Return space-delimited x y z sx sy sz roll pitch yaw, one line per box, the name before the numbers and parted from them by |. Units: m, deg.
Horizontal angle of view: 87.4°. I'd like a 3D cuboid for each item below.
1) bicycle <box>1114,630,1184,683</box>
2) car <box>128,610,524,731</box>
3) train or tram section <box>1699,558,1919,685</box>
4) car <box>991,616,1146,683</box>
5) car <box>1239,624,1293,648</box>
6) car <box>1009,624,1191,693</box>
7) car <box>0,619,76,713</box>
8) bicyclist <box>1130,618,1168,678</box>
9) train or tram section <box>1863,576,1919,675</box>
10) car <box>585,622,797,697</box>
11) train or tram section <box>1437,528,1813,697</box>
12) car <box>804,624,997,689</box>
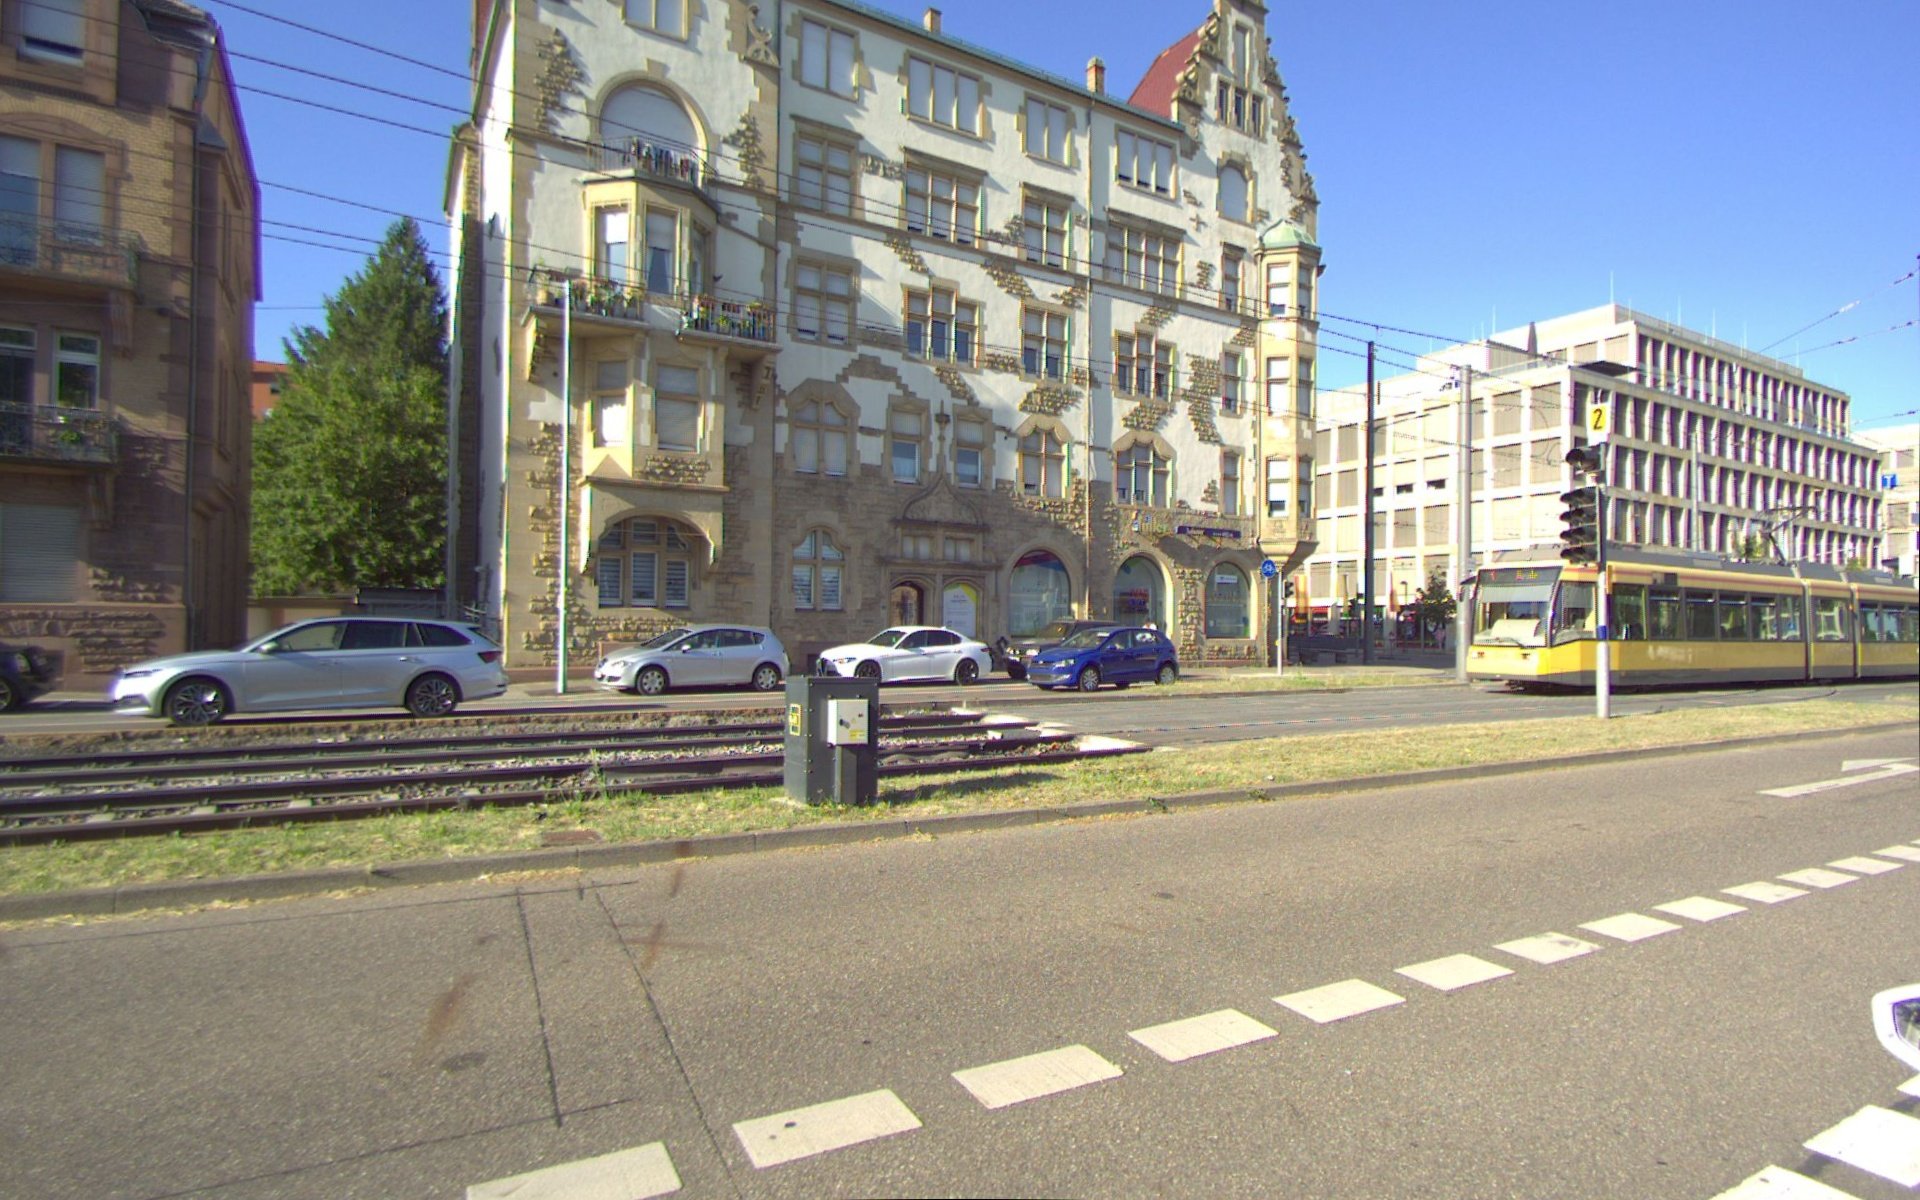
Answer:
bicycle | 5.152 1.526 27.347 1.924 1.400 0.681 2 -2 -30
car | -8.814 0.944 14.329 4.494 1.476 1.808 2 -2 -35
train or tram section | 28.523 0.776 32.466 13.054 3.535 2.798 2 -2 -32
car | 3.087 1.352 28.171 4.171 1.698 1.707 1 1 -33
car | 25.284 2.959 83.047 1.894 1.939 4.034 1 -2 -33
car | 3.292 1.324 23.334 4.116 1.476 1.808 2 -2 -36
car | -16.308 1.007 15.553 3.685 1.373 1.613 1 1 -32
bicyclist | 5.154 1.305 27.344 0.776 1.583 0.682 1 -2 -30
train or tram section | 39.221 1.041 39.068 12.016 3.535 2.798 2 -2 -32
car | -5.883 1.254 22.145 4.179 1.450 1.699 1 1 -34
train or tram section | 17.382 0.450 25.631 13.054 3.535 2.798 2 -2 -32
car | -1.443 1.380 25.216 4.606 1.442 1.707 1 1 -33
